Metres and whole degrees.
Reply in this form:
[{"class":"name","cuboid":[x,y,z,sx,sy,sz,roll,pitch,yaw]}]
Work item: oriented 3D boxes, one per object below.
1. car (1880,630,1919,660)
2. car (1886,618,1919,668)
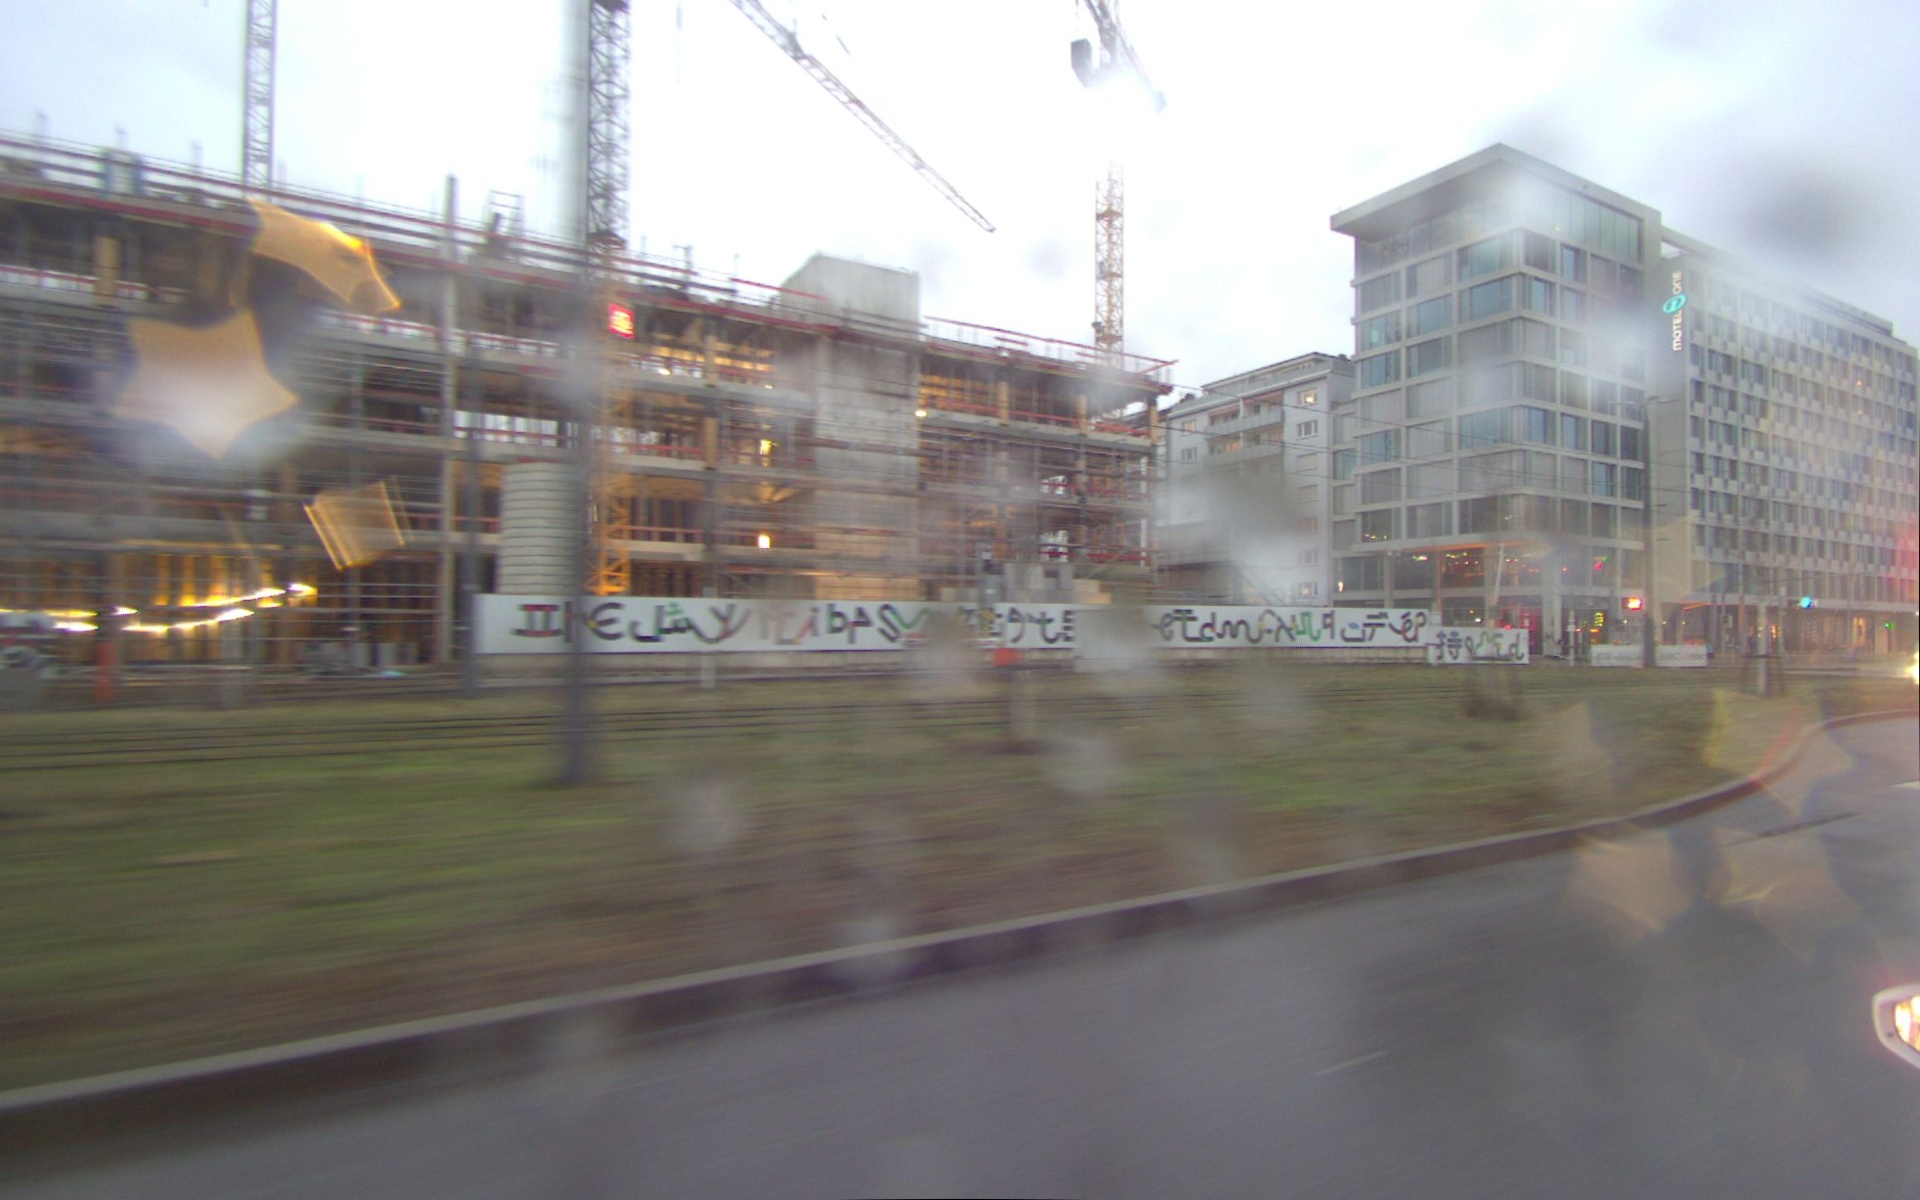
[{"class":"car","cuboid":[51.213,2.430,53.511,1.709,1.512,3.545,1,0,13]},{"class":"car","cuboid":[39.989,1.763,40.385,3.942,2.001,1.990,1,0,42]}]
